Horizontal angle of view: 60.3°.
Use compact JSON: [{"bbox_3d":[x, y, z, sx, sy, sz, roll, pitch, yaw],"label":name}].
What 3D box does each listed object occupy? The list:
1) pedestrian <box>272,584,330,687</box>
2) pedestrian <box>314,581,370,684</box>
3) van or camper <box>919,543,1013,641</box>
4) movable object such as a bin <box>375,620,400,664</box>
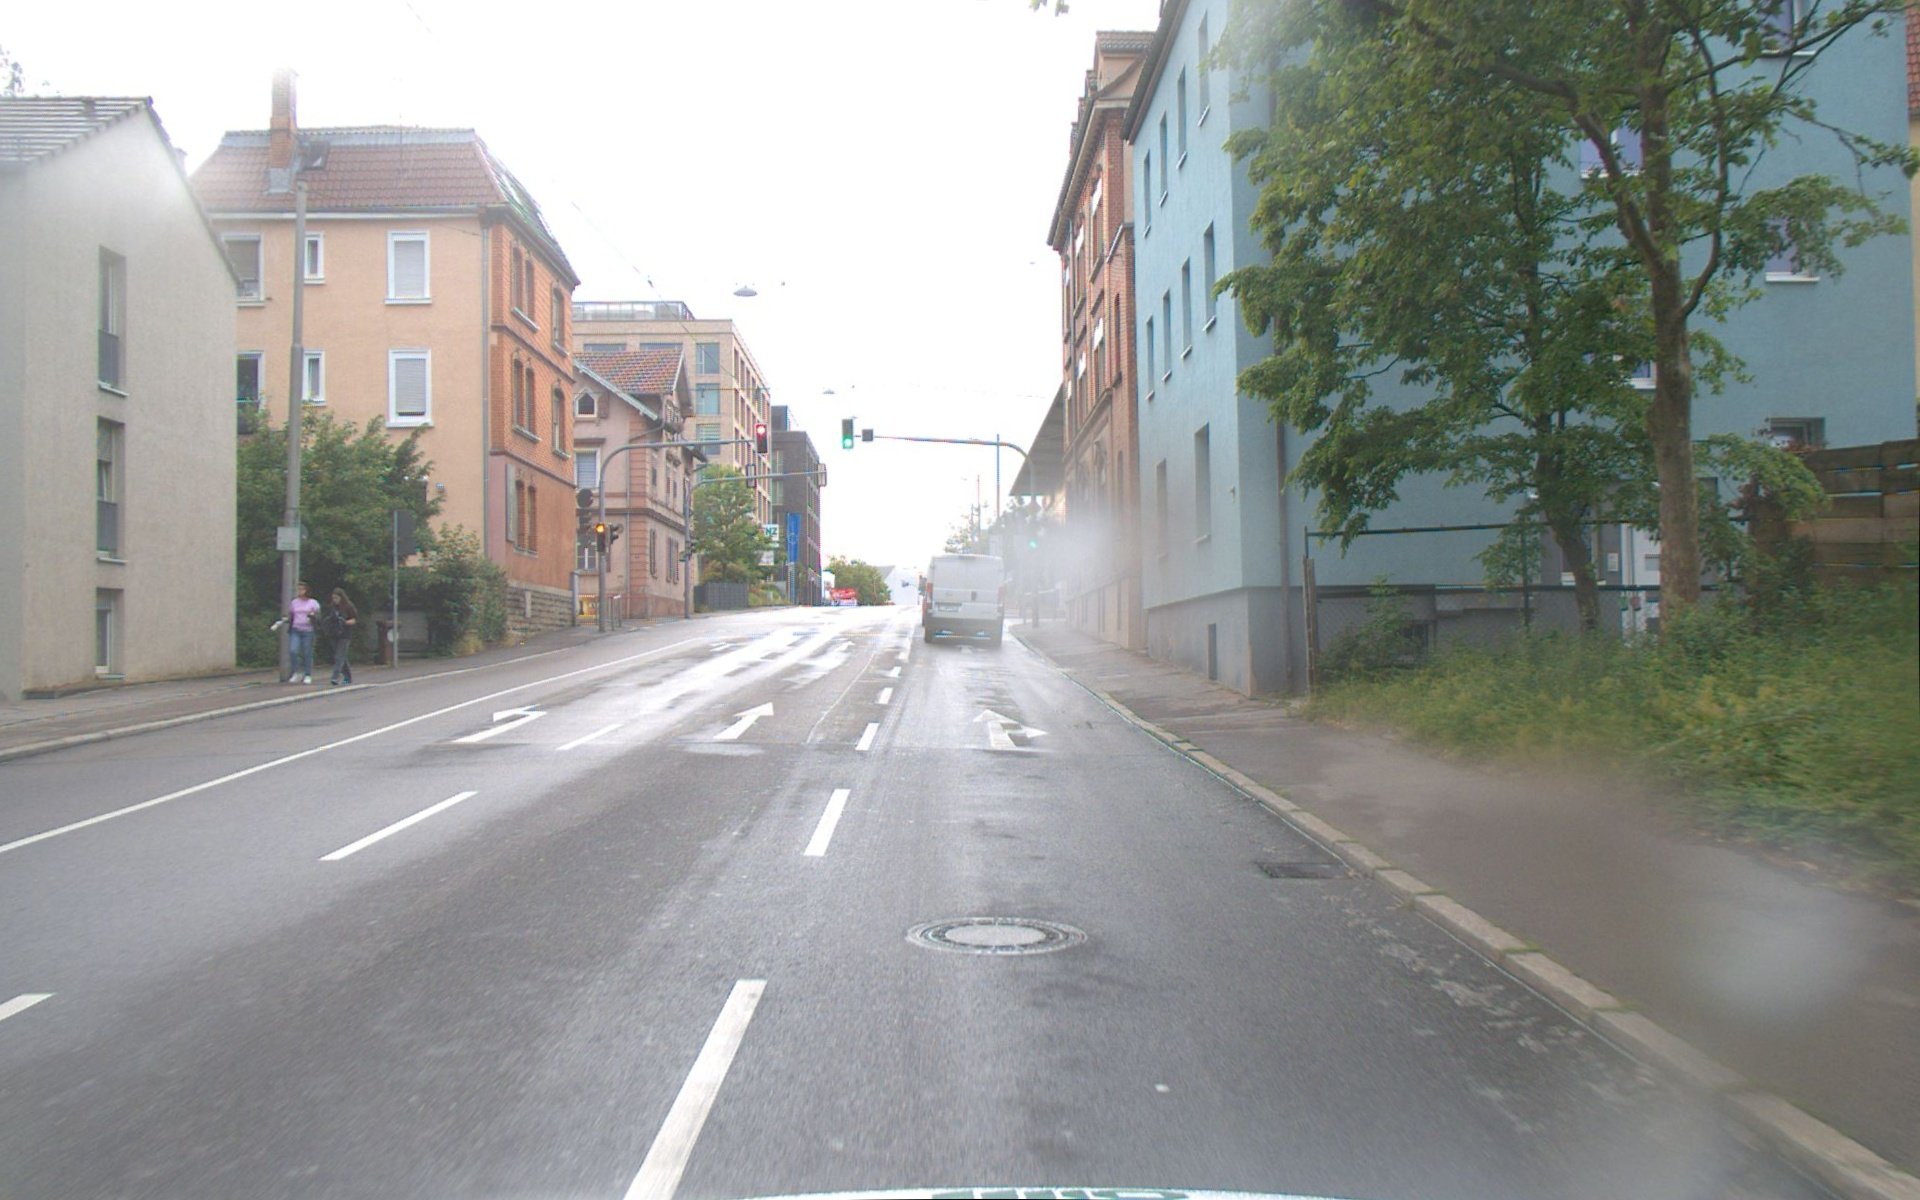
[{"bbox_3d":[-11.268,0.598,28.280,0.627,1.736,0.911,0,0,0],"label":"pedestrian"},{"bbox_3d":[-10.584,0.550,28.341,0.627,1.736,0.911,0,0,0],"label":"pedestrian"},{"bbox_3d":[0.138,-0.184,43.387,2.292,2.398,5.198,0,0,0],"label":"van or camper"},{"bbox_3d":[-12.395,0.915,35.794,0.401,0.941,0.525,1,-1,-8],"label":"movable object such as a bin"}]
